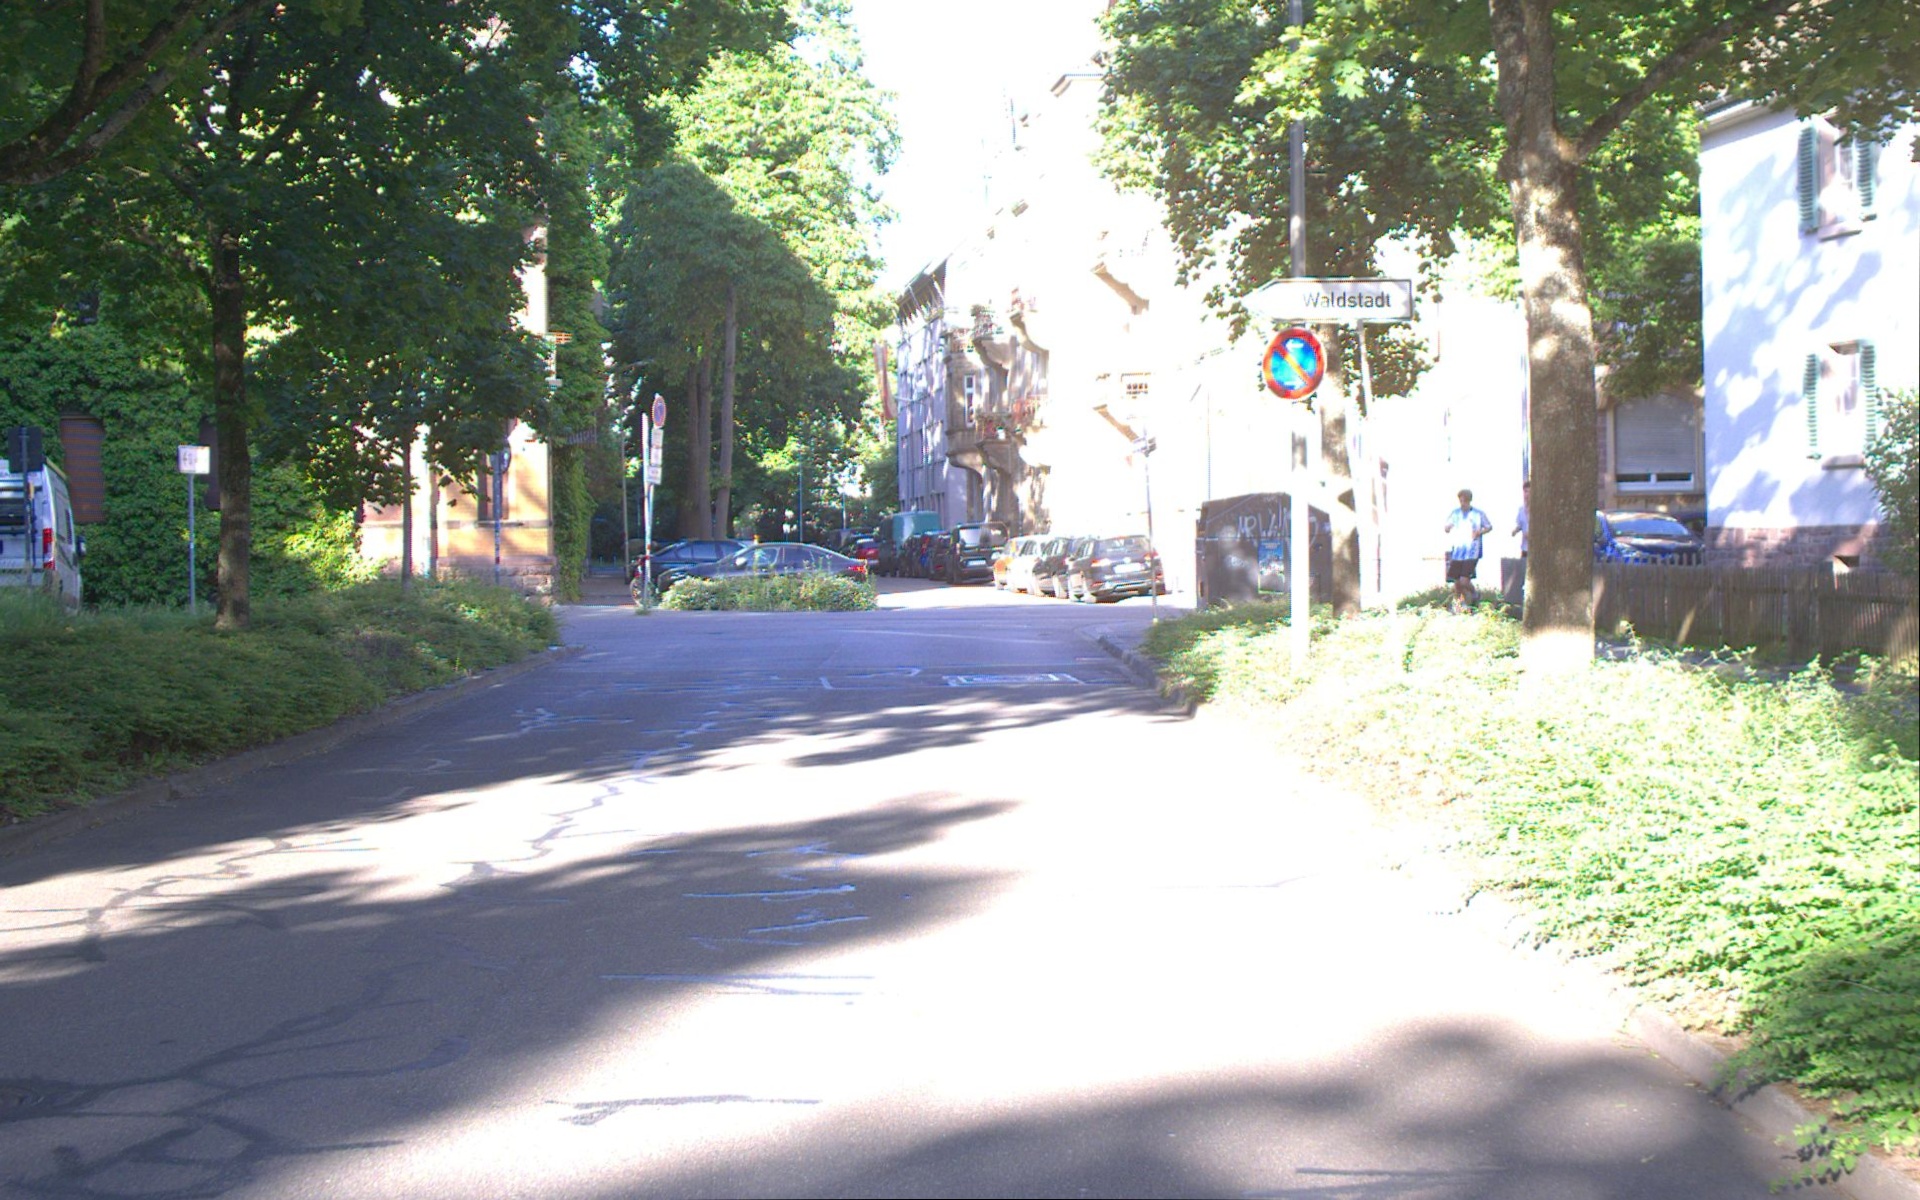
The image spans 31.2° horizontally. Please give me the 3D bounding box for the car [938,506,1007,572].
[{"bbox_3d":[0.352,-1.841,103.353,1.811,1.919,4.001,1,1,-4],"label":"car"}]

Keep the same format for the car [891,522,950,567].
[{"bbox_3d":[-1.387,-1.921,118.203,1.811,1.496,4.001,1,1,-4],"label":"car"}]

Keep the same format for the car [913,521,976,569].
[{"bbox_3d":[-0.515,-1.800,111.663,1.811,1.496,4.001,1,1,-4],"label":"car"}]

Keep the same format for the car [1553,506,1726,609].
[{"bbox_3d":[10.808,-0.688,54.889,1.993,1.579,3.640,0,1,-1],"label":"car"}]

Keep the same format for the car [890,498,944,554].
[{"bbox_3d":[-1.626,-2.761,128.396,1.811,2.043,4.001,1,1,-4],"label":"car"}]

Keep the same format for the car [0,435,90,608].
[{"bbox_3d":[-14.233,-1.168,51.434,1.993,2.499,4.001,0,1,-9],"label":"car"}]

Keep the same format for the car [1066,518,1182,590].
[{"bbox_3d":[3.545,-1.020,74.850,1.811,1.496,4.001,-1,1,-7],"label":"car"}]

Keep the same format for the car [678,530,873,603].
[{"bbox_3d":[-3.925,-0.713,72.745,3.986,1.496,1.818,0,1,-8],"label":"car"}]

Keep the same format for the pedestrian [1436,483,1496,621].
[{"bbox_3d":[6.916,-0.658,47.015,0.615,1.864,0.695,0,1,-7],"label":"pedestrian"}]

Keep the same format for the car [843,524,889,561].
[{"bbox_3d":[-3.991,-2.445,145.389,1.811,1.496,4.001,1,1,-4],"label":"car"}]

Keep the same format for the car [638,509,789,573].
[{"bbox_3d":[-6.043,-1.443,84.086,3.586,1.505,1.500,0,1,-8],"label":"car"}]

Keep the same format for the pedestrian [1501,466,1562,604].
[{"bbox_3d":[7.814,-0.885,47.035,0.615,1.864,0.695,0,1,-7],"label":"pedestrian"}]

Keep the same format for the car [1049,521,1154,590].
[{"bbox_3d":[3.312,-1.071,81.109,1.993,1.568,4.001,1,1,-5],"label":"car"}]
